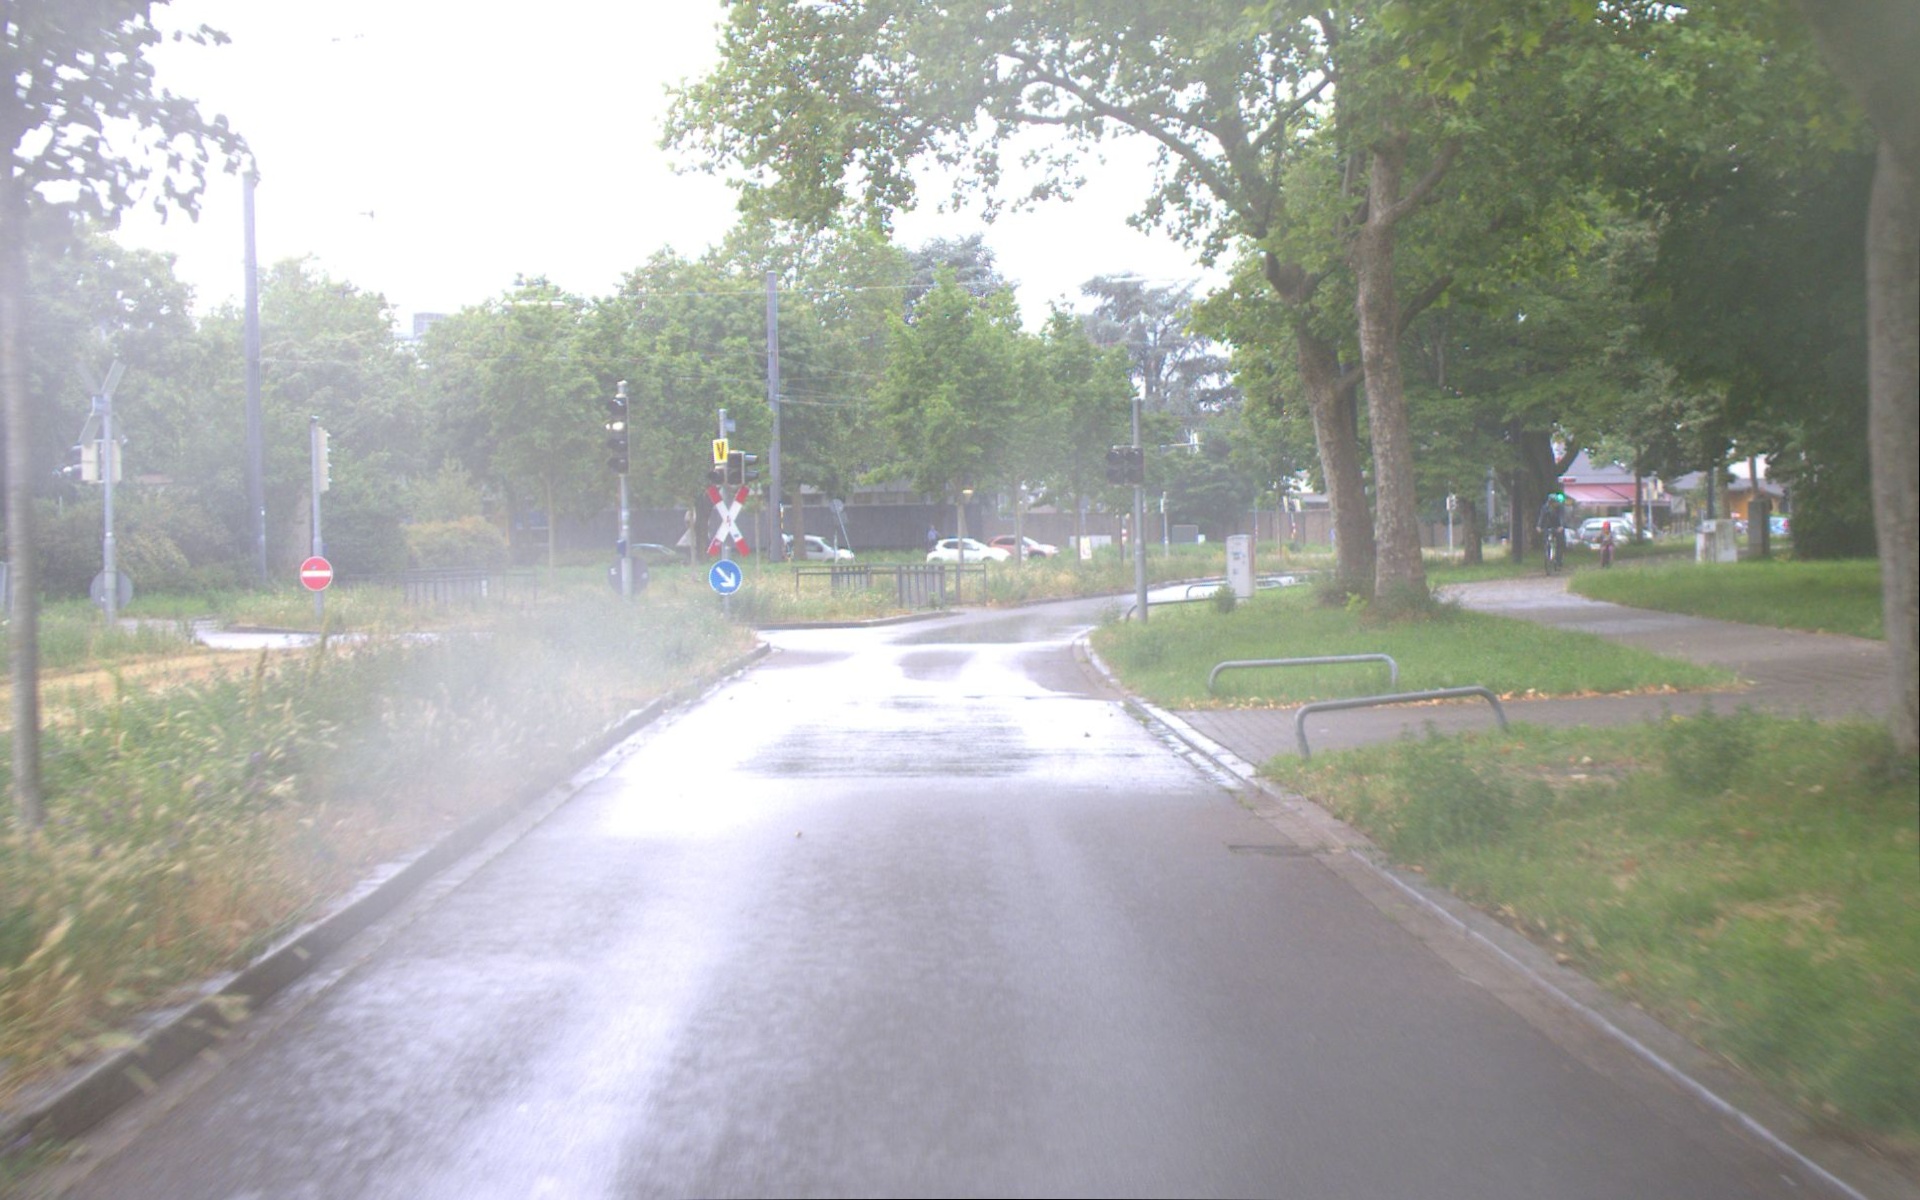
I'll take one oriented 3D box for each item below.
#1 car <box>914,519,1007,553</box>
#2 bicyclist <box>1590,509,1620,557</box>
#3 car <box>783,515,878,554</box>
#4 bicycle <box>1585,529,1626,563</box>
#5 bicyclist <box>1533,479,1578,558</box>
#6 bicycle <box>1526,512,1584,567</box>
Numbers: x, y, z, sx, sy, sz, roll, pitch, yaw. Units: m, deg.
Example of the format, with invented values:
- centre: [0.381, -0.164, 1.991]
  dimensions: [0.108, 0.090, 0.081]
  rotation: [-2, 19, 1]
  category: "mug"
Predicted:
- centre: [0.038, -3.029, 163.252]
  dimensions: [4.068, 1.494, 1.651]
  rotation: [-1, 1, 17]
  category: "car"
- centre: [14.271, -1.490, 76.083]
  dimensions: [0.487, 1.034, 0.590]
  rotation: [-1, 2, 27]
  category: "bicyclist"
- centre: [-6.238, -3.141, 165.198]
  dimensions: [4.213, 1.790, 1.651]
  rotation: [-1, 2, 19]
  category: "car"
- centre: [14.299, -1.192, 76.129]
  dimensions: [0.487, 0.706, 1.455]
  rotation: [-1, 2, 27]
  category: "bicycle"
- centre: [13.271, -1.822, 76.624]
  dimensions: [0.712, 1.715, 0.956]
  rotation: [0, 3, 27]
  category: "bicyclist"
- centre: [13.278, -1.355, 76.638]
  dimensions: [0.712, 1.138, 1.969]
  rotation: [0, 3, 27]
  category: "bicycle"
